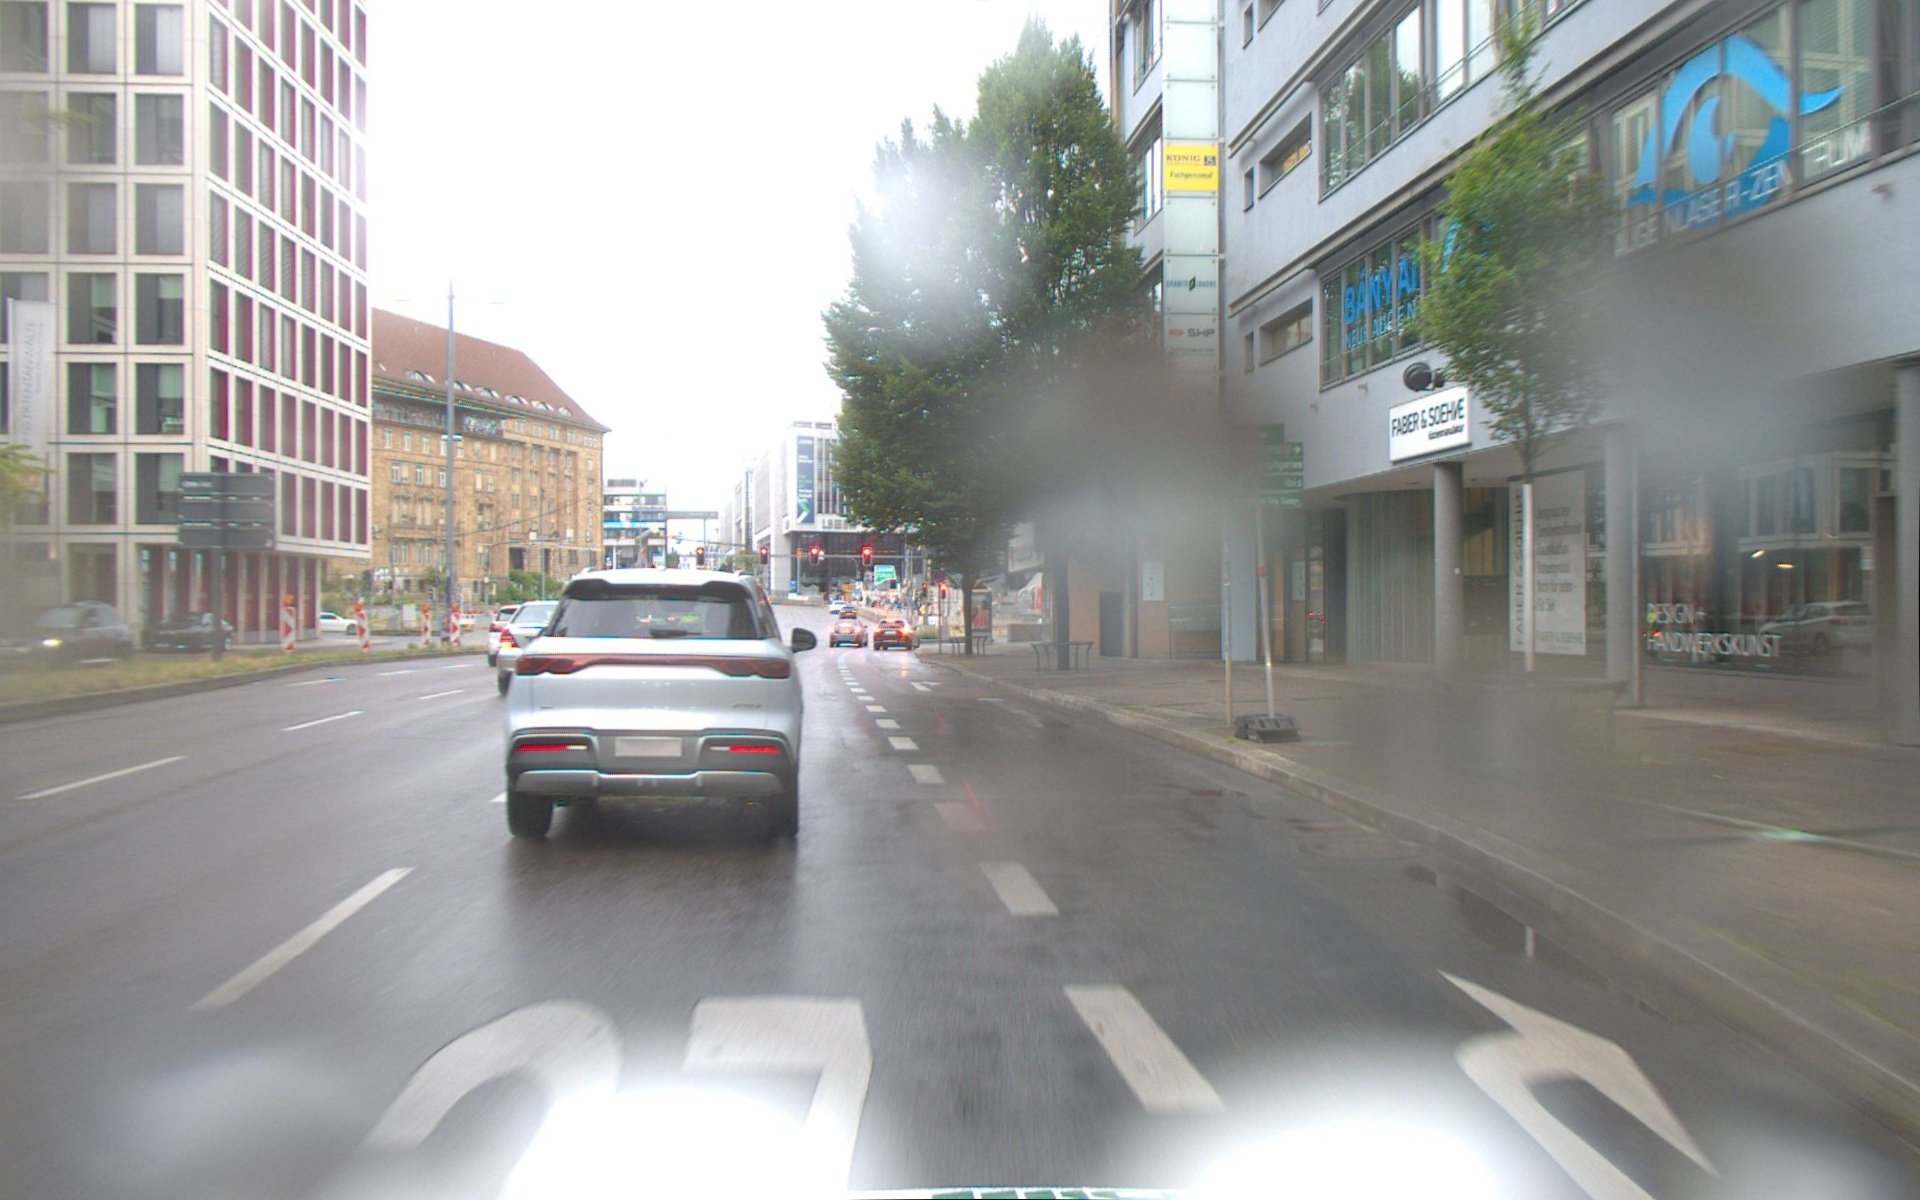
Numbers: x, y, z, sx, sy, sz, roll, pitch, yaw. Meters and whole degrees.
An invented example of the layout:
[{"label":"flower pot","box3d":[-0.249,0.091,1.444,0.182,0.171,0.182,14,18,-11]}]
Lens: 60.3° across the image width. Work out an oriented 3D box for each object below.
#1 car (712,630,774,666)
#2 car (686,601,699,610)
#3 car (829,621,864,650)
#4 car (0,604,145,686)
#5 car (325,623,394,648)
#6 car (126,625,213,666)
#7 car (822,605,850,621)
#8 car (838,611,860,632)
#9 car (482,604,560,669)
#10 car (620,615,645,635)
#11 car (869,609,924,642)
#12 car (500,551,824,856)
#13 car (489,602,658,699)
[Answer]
[{"label":"car","box3d":[-9.513,2.095,72.819,1.847,1.541,5.003,0,-1,2]},{"label":"car","box3d":[-41.452,0.902,256.284,1.733,1.283,4.190,0,-1,-4]},{"label":"car","box3d":[-6.114,1.910,89.396,1.747,1.427,4.485,0,1,-2]},{"label":"car","box3d":[-19.520,0.954,36.080,1.792,1.661,4.863,1,-1,-10]},{"label":"car","box3d":[-40.733,2.405,112.189,4.318,1.691,1.987,1,-1,-21]},{"label":"car","box3d":[-30.107,1.714,63.090,1.664,1.449,3.951,-2,-1,-5]},{"label":"car","box3d":[-14.574,1.543,194.320,1.968,1.848,3.969,1,-1,-24]},{"label":"car","box3d":[-11.173,2.179,166.289,1.956,2.049,3.993,1,-1,-8]},{"label":"car","box3d":[-11.609,0.972,43.925,1.701,1.644,3.989,1,-1,-11]},{"label":"car","box3d":[-27.852,2.125,140.730,1.767,1.601,4.068,0,-1,-6]},{"label":"car","box3d":[-3.041,1.234,79.942,1.851,1.571,3.996,0,-1,10]},{"label":"car","box3d":[-1.910,0.618,11.353,1.774,1.690,4.164,1,-1,-7]},{"label":"car","box3d":[-6.100,0.786,26.591,1.697,1.428,4.382,0,-1,0]}]
